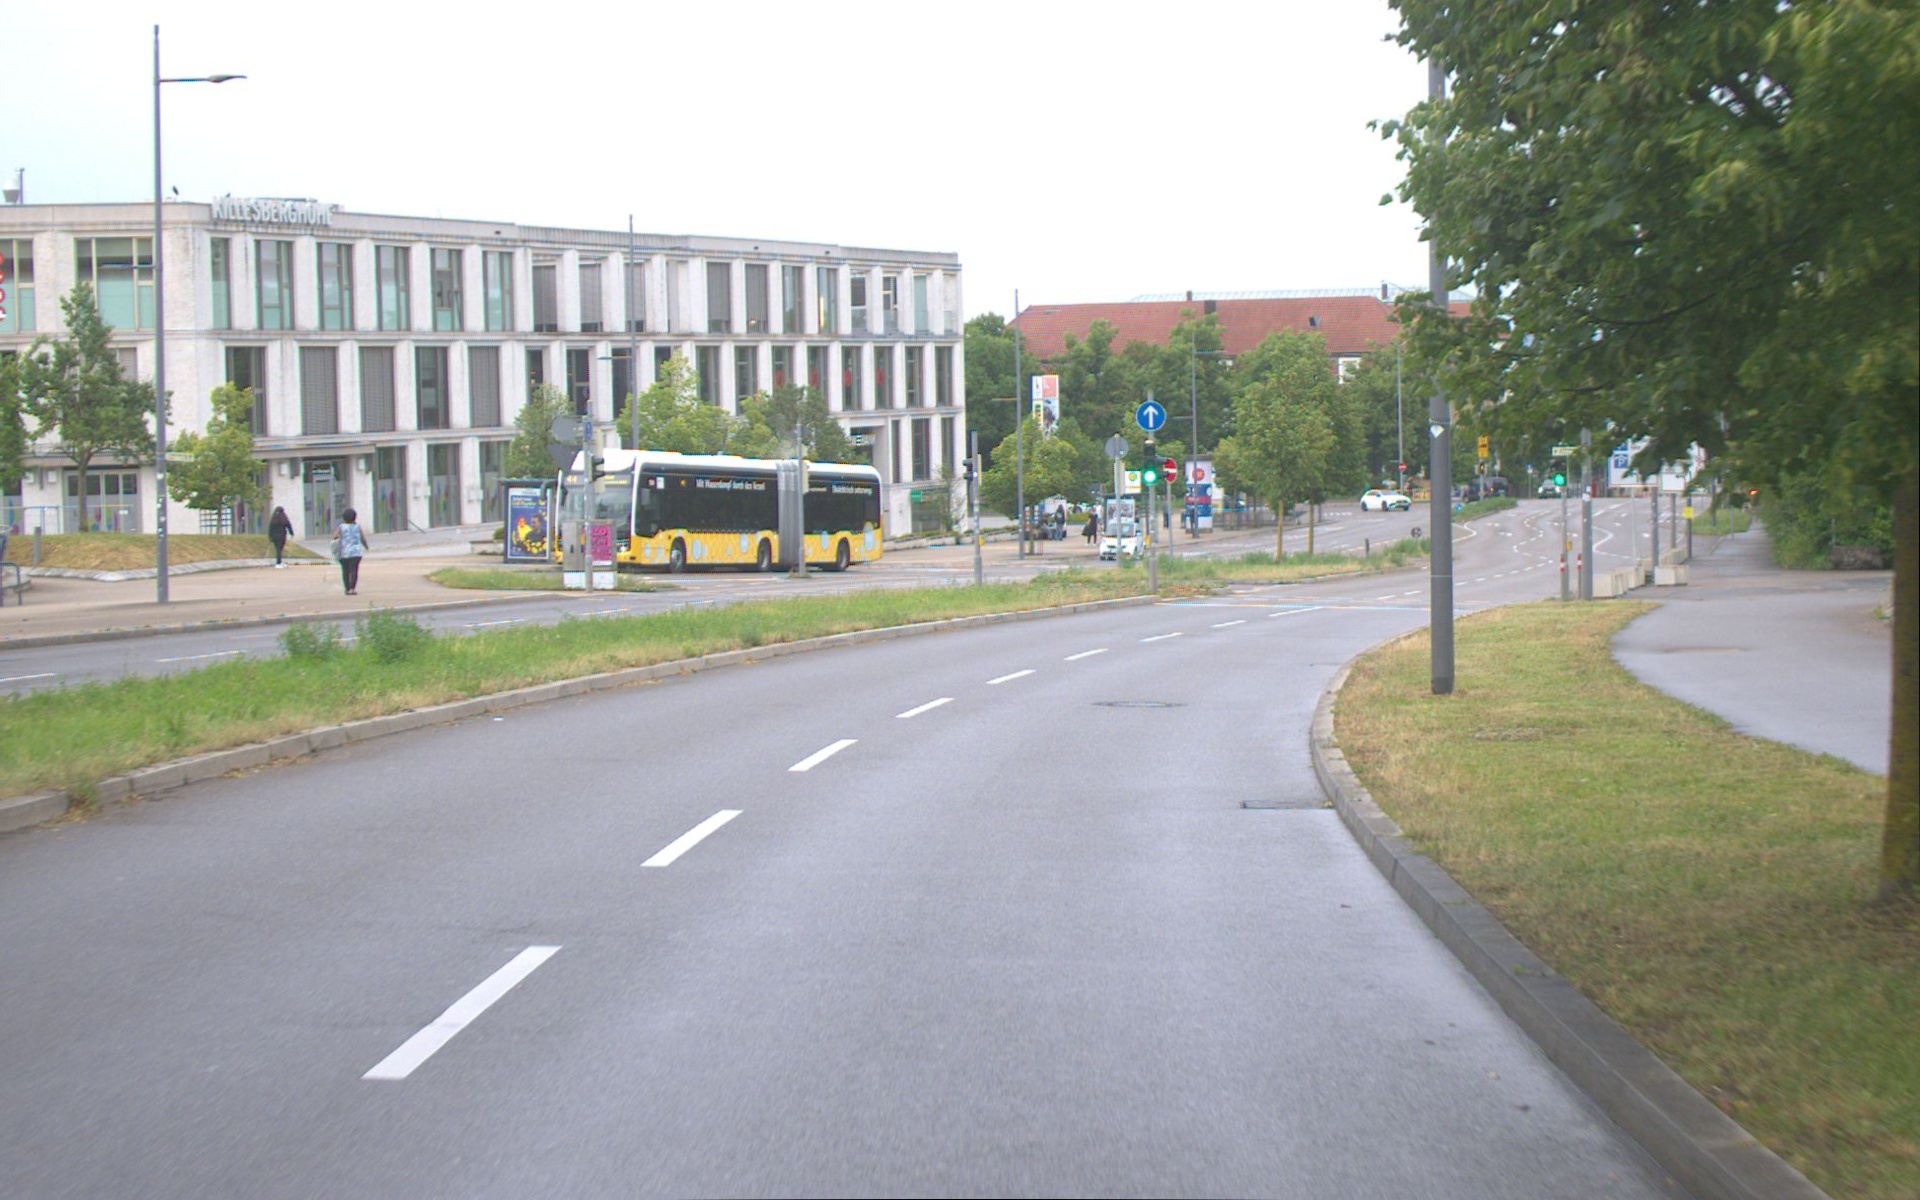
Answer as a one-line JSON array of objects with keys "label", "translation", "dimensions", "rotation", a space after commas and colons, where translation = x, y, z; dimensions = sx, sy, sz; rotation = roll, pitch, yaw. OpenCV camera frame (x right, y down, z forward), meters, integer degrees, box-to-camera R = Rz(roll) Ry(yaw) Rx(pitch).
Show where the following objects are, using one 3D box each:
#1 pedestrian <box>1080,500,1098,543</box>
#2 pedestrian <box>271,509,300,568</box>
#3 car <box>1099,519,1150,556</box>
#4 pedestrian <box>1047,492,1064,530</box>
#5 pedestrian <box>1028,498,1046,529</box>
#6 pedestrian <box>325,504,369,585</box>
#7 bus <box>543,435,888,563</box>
[{"label": "pedestrian", "translation": [5.942, -3.607, 158.333], "dimensions": [0.748, 1.940, 0.838], "rotation": [0, 0, -4]}, {"label": "pedestrian", "translation": [-17.770, -1.616, 90.593], "dimensions": [0.682, 1.519, 0.719], "rotation": [0, 0, -5]}, {"label": "car", "translation": [6.819, -2.588, 142.226], "dimensions": [1.479, 1.489, 2.528], "rotation": [0, 0, 19]}, {"label": "pedestrian", "translation": [4.679, -4.375, 168.590], "dimensions": [0.748, 1.846, 0.838], "rotation": [0, 0, -4]}, {"label": "pedestrian", "translation": [3.793, -4.253, 168.997], "dimensions": [0.835, 1.527, 0.751], "rotation": [0, 0, 0]}, {"label": "pedestrian", "translation": [-11.931, -1.080, 66.879], "dimensions": [0.834, 1.568, 0.719], "rotation": [0, 0, -11]}, {"label": "bus", "translation": [-6.835, -2.827, 101.760], "dimensions": [2.788, 3.345, 18.207], "rotation": [0, 0, 21]}]
